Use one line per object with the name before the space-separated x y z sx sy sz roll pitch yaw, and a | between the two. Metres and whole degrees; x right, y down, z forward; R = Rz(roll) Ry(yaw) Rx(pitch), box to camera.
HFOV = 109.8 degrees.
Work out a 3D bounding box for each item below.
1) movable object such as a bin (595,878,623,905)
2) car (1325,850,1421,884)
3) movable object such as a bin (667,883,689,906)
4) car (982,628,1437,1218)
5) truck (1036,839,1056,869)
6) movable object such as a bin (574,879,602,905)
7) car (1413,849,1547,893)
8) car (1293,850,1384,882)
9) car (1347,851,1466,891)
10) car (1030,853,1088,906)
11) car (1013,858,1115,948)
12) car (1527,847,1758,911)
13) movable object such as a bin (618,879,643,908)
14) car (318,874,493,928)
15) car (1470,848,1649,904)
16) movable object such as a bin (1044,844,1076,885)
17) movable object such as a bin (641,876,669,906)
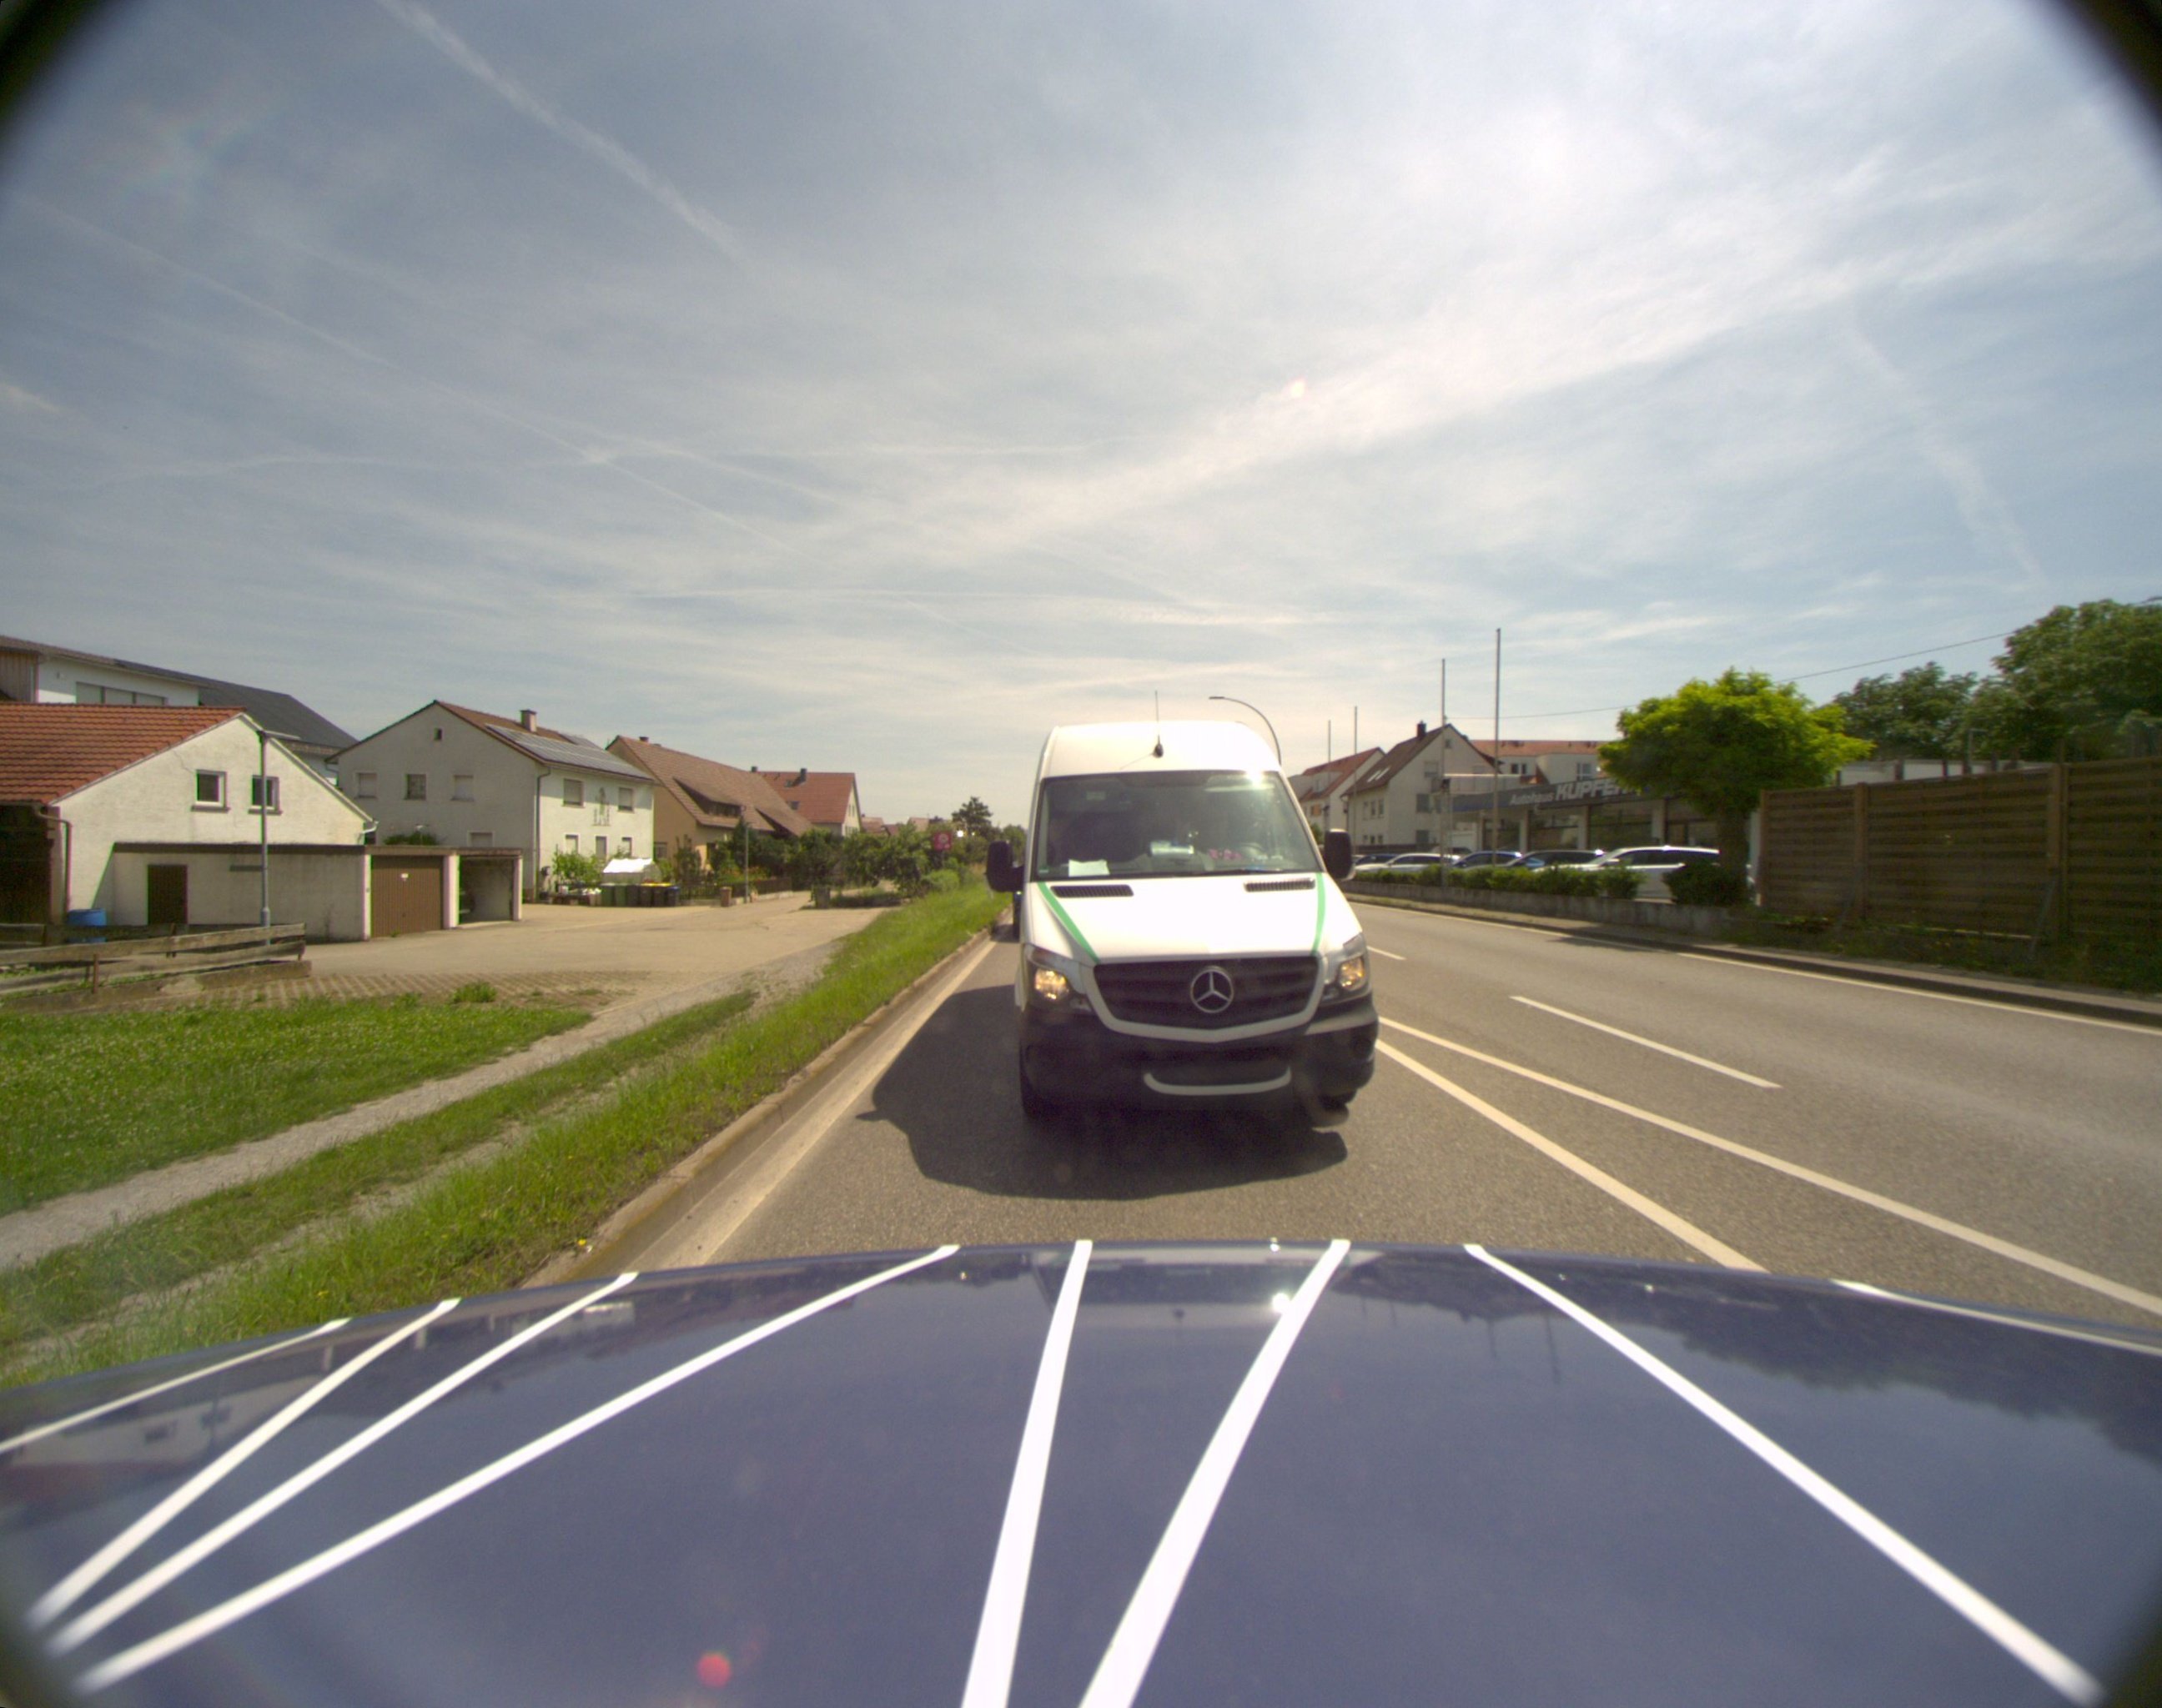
movable object such as a bin | -22.348 1.771 36.013 0.745 1.239 0.889 -2 0 -1
car | 13.555 0.614 35.276 3.990 1.455 2.003 -2 0 25
movable object such as a bin | -19.082 1.924 35.973 0.645 1.021 0.756 -2 0 -1
car | 0.527 0.313 6.219 1.978 2.584 5.633 -2 0 -1
truck | -4.598 0.026 100.933 2.506 3.847 5.496 -1 0 -2
movable object such as a bin | -23.279 1.800 35.861 0.740 1.149 0.830 -2 0 -1
car | 13.869 0.598 26.655 3.990 1.433 1.857 -2 0 24
car | 13.327 0.632 39.326 4.255 1.521 2.003 -2 0 25
car | 13.299 0.690 31.064 4.303 1.510 2.003 -2 0 26
car | -0.740 0.797 25.798 1.824 1.637 3.901 -1 0 -1
car | -0.348 0.889 15.565 1.824 1.574 3.901 -1 0 -1
car | 13.759 0.612 18.983 4.329 1.451 1.858 -1 0 24
movable object such as a bin | -21.430 1.863 36.160 0.678 1.330 0.820 -2 0 -1
car | -21.775 1.496 24.617 3.997 1.594 1.826 -1 0 0
car | 14.094 0.651 22.695 4.251 1.536 1.853 -2 0 22
movable object such as a bin | -1.394 0.724 53.279 1.998 2.710 5.419 -1 0 1
movable object such as a bin | -20.090 1.742 35.872 0.765 1.362 0.946 -2 0 -1
